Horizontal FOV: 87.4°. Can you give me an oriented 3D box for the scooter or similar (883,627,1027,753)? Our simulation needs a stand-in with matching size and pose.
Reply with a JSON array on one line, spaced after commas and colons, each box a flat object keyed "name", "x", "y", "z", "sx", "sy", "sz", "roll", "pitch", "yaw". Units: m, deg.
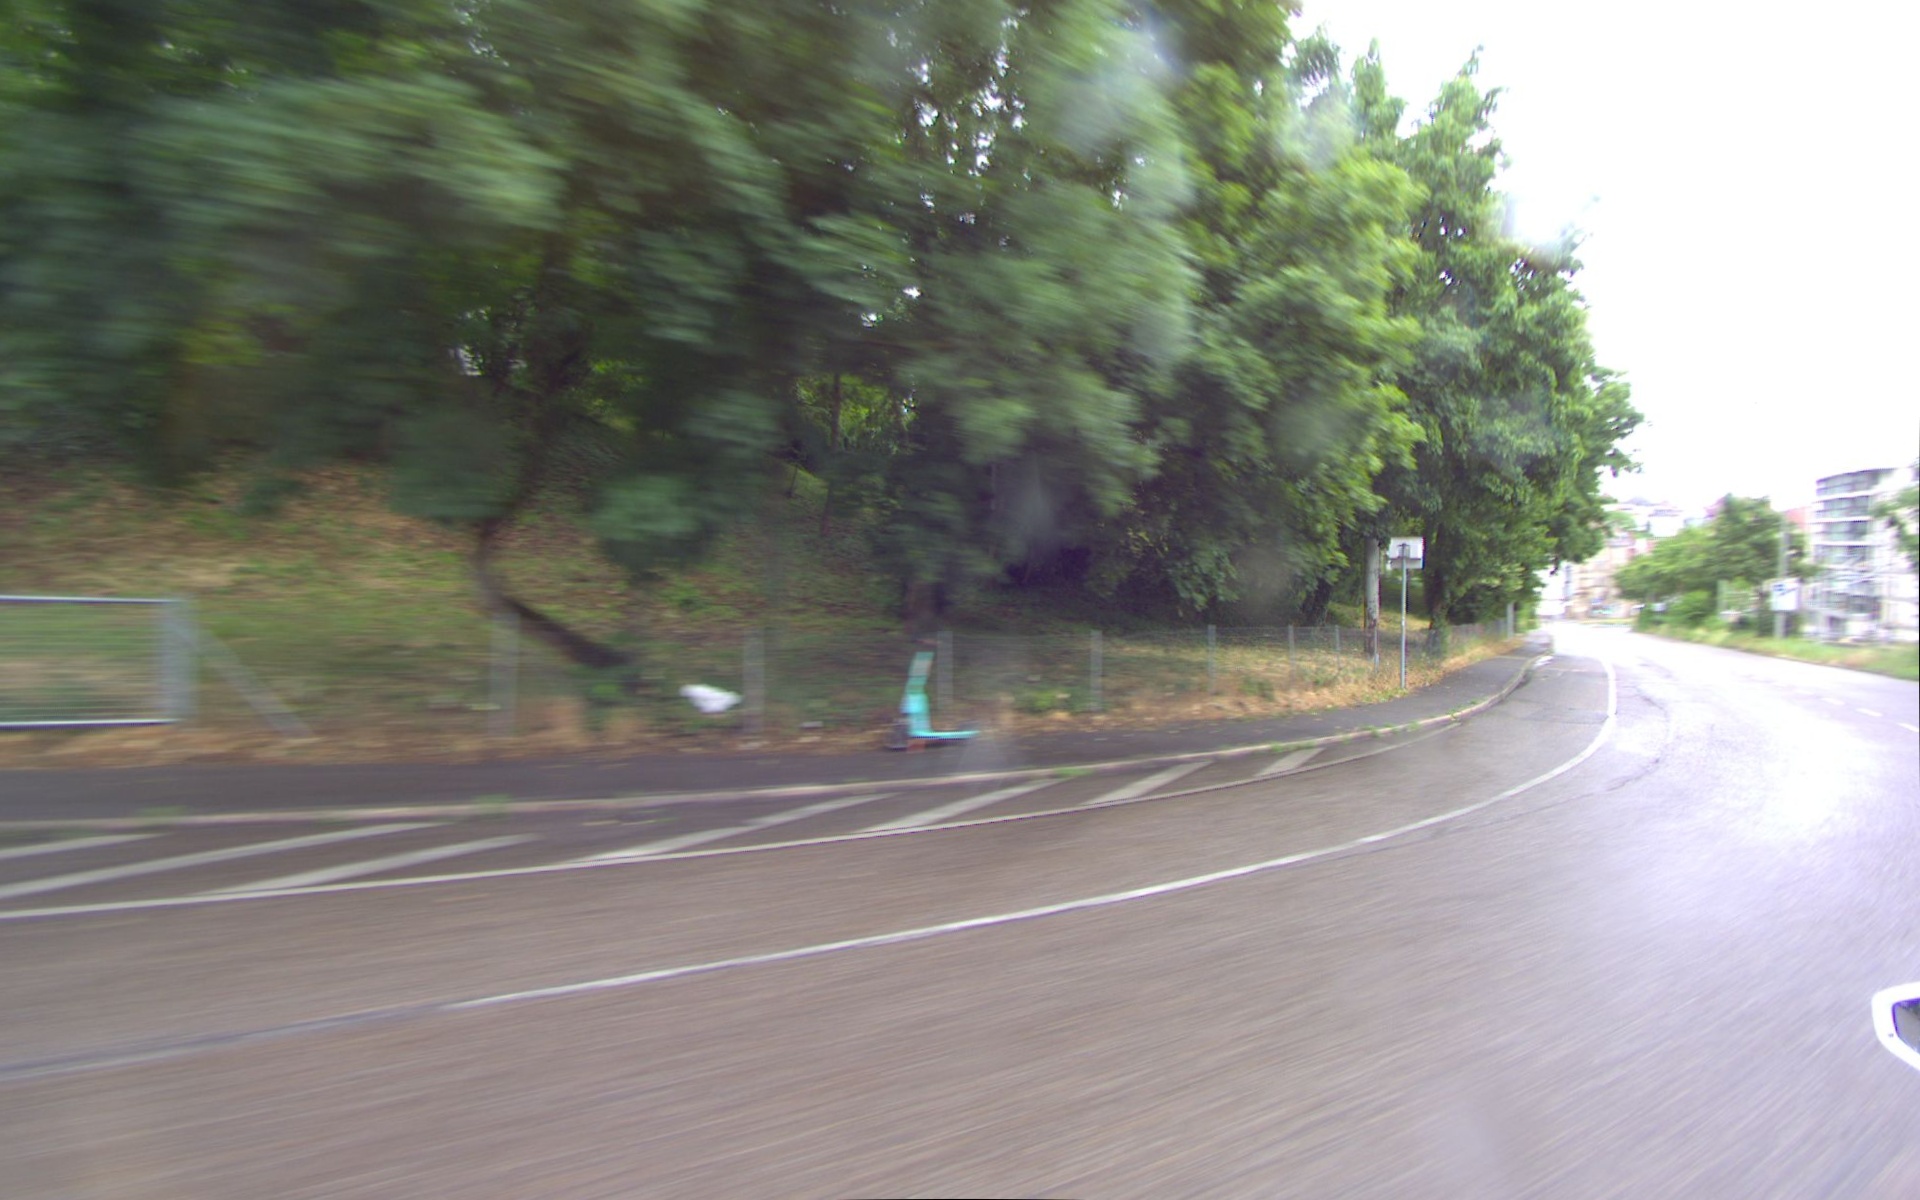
[{"name": "scooter or similar", "x": -0.054, "y": 0.991, "z": 11.210, "sx": 1.418, "sy": 1.285, "sz": 0.606, "roll": 2, "pitch": 3, "yaw": -26}]
